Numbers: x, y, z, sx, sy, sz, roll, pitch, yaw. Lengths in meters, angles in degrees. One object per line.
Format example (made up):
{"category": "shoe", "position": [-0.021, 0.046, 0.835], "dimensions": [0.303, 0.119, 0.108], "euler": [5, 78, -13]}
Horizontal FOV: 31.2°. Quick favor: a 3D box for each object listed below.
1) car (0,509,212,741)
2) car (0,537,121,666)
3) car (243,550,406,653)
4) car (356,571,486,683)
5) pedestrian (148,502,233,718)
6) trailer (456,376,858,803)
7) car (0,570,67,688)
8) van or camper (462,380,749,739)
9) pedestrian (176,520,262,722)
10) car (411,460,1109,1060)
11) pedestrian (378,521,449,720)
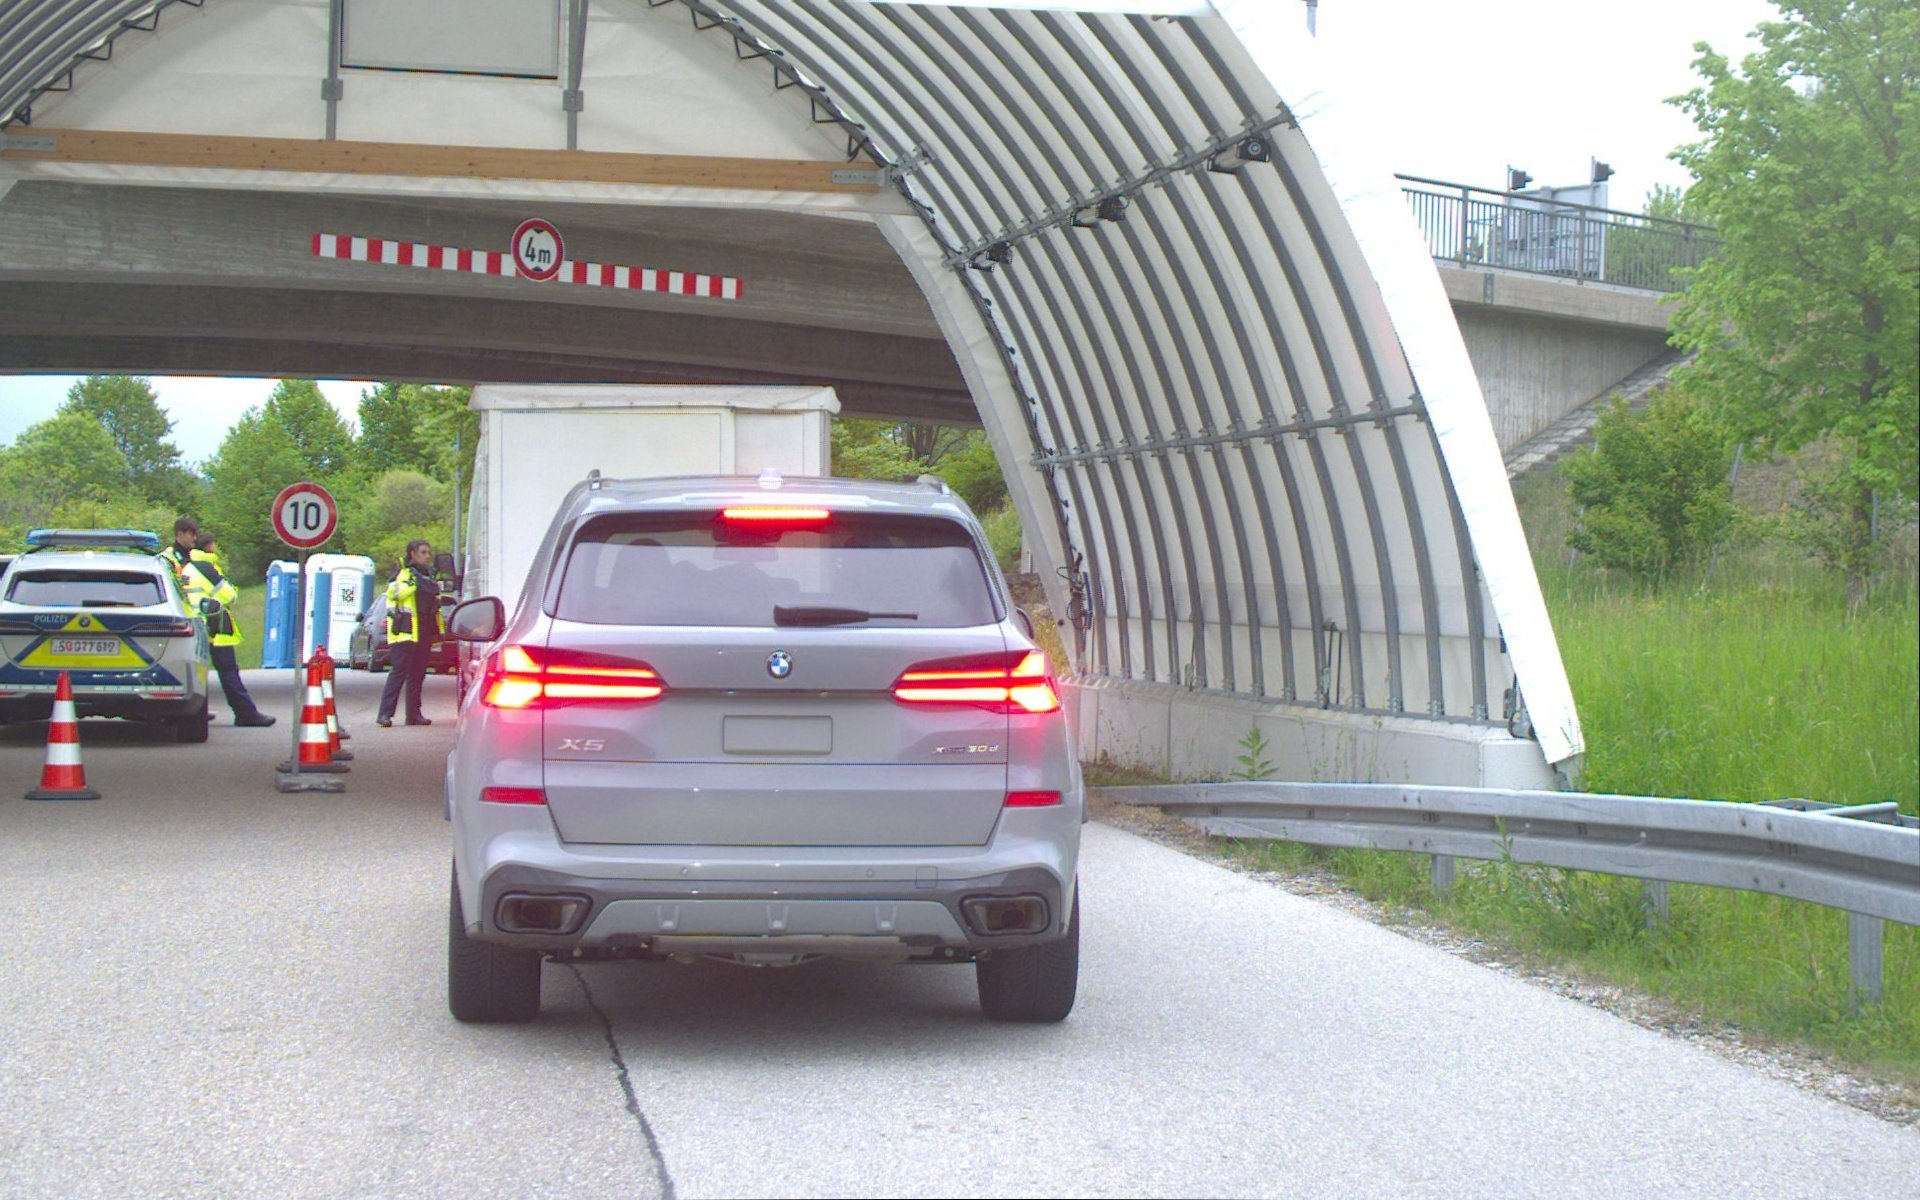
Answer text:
{"category": "car", "position": [-7.163, 0.171, 28.053], "dimensions": [1.993, 1.766, 3.766], "euler": [0, 0, -11]}
{"category": "car", "position": [-14.552, 0.026, 50.506], "dimensions": [3.987, 1.848, 1.709], "euler": [0, 0, 5]}
{"category": "car", "position": [-12.851, 0.007, 69.378], "dimensions": [1.993, 2.007, 4.000], "euler": [0, 0, -30]}
{"category": "car", "position": [-9.375, 0.435, 59.587], "dimensions": [1.703, 1.848, 4.001], "euler": [-1, 1, -16]}
{"category": "pedestrian", "position": [-7.017, 0.086, 31.369], "dimensions": [0.720, 1.939, 0.690], "euler": [0, 0, -11]}
{"category": "trailer", "position": [-2.147, -0.046, 22.997], "dimensions": [2.278, 2.422, 6.818], "euler": [0, 0, -7]}
{"category": "car", "position": [-12.677, 0.346, 43.531], "dimensions": [1.515, 1.437, 3.315], "euler": [-1, 1, -36]}
{"category": "van or camper", "position": [-3.150, -0.300, 29.403], "dimensions": [2.156, 2.754, 5.872], "euler": [0, 0, -9]}
{"category": "pedestrian", "position": [-6.560, 0.177, 30.469], "dimensions": [0.720, 1.769, 0.690], "euler": [0, 0, -11]}
{"category": "car", "position": [-0.694, 0.452, 11.863], "dimensions": [1.993, 1.714, 4.000], "euler": [0, 0, -4]}
{"category": "pedestrian", "position": [-4.909, 0.177, 30.870], "dimensions": [0.604, 1.769, 0.650], "euler": [0, 0, -11]}
